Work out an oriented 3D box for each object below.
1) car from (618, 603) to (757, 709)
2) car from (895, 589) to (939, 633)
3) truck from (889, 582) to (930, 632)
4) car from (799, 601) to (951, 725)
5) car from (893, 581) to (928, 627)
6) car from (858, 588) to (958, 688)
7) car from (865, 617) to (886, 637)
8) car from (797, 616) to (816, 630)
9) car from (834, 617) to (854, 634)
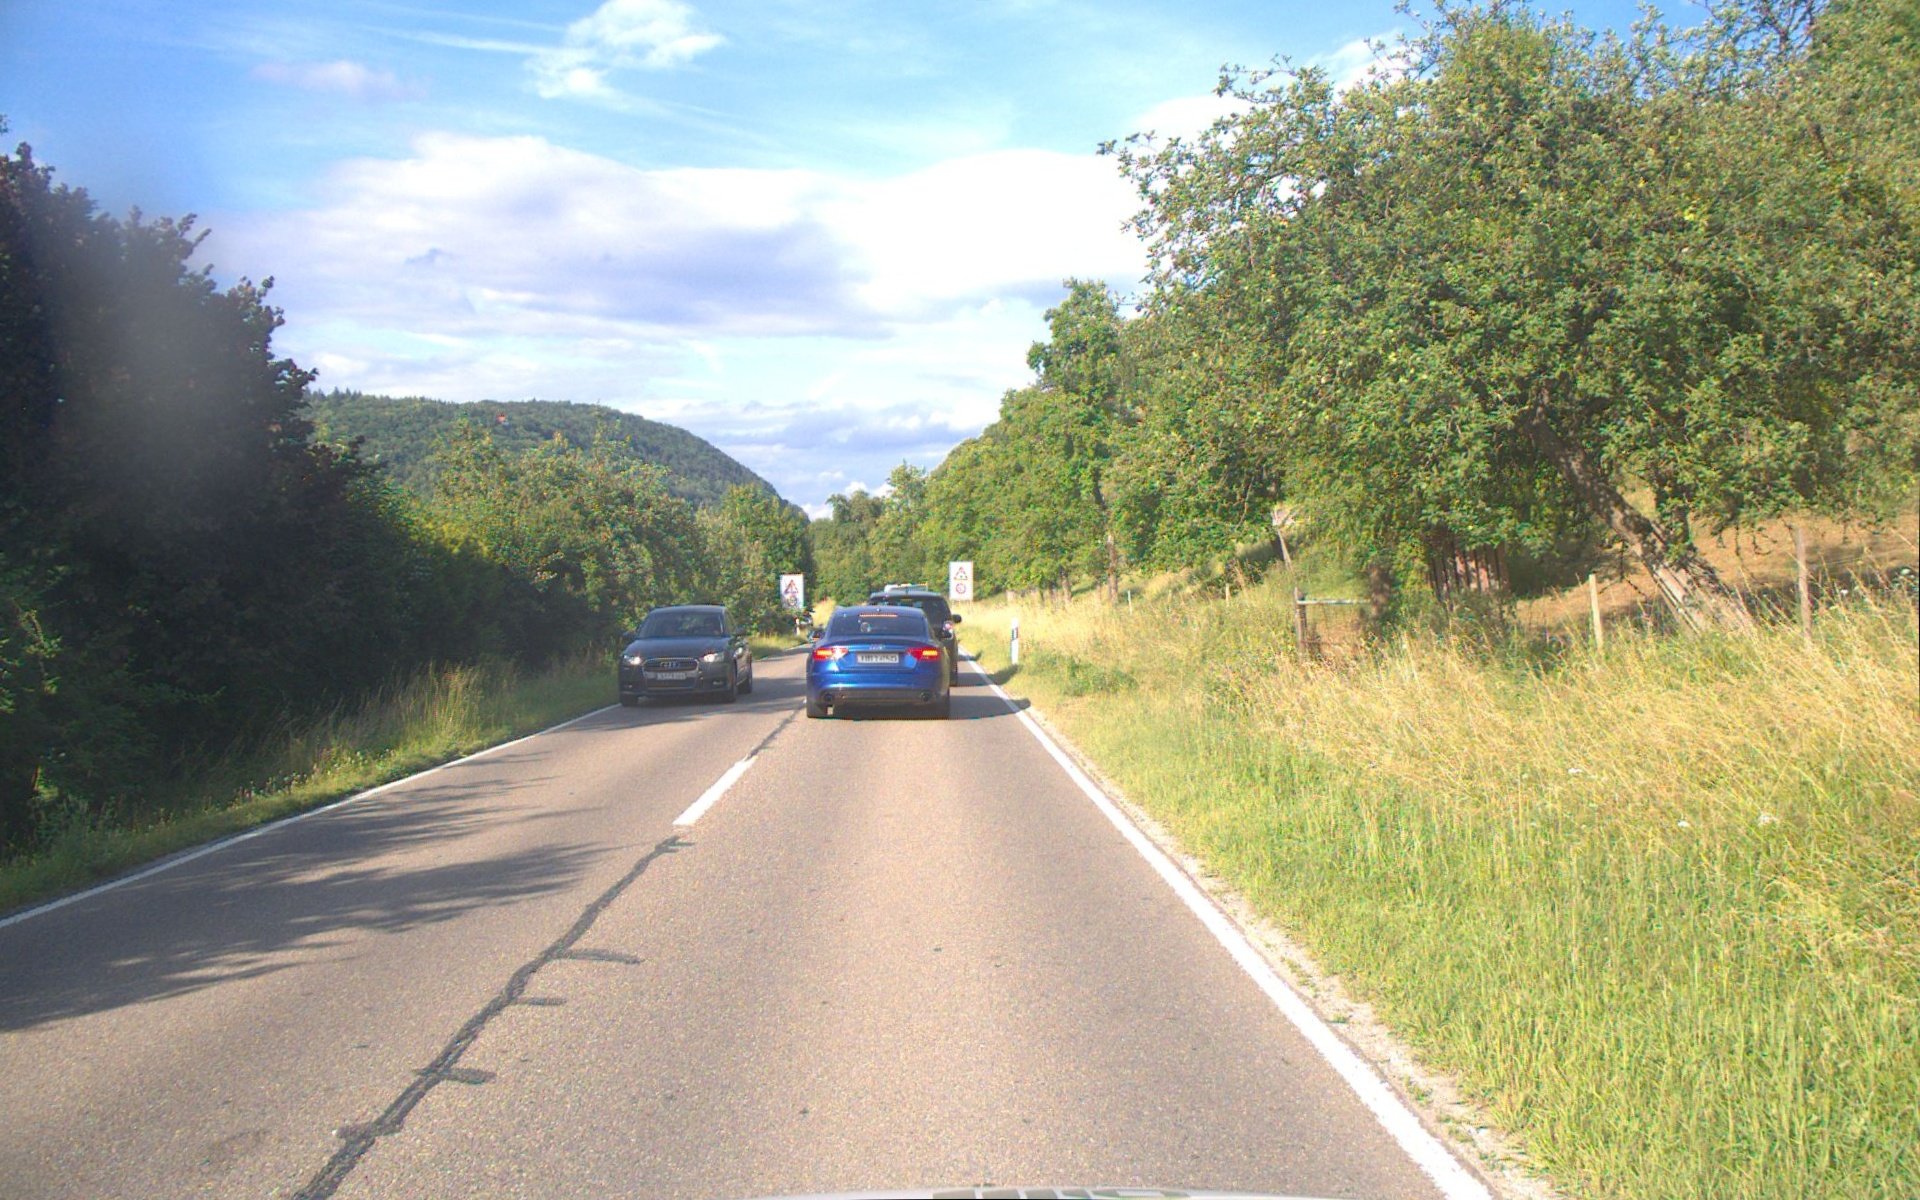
[{"bbox_3d":[-4.065,0.788,25.171,1.595,1.440,3.787,-2,0,-2],"label":"car"},{"bbox_3d":[-1.716,0.419,65.084,1.659,1.652,3.787,0,0,-2],"label":"car"},{"bbox_3d":[-2.548,0.361,82.730,1.911,2.386,5.091,1,0,-3],"label":"truck"},{"bbox_3d":[-1.055,0.739,21.545,1.769,1.406,4.213,-1,0,-2],"label":"car"},{"bbox_3d":[-2.817,0.243,93.320,1.757,2.496,3.915,1,0,-5],"label":"car"},{"bbox_3d":[-0.932,0.628,29.327,1.659,1.652,3.787,0,0,-2],"label":"car"},{"bbox_3d":[-6.664,2.112,130.208,1.528,1.522,3.775,1,0,-4],"label":"car"},{"bbox_3d":[-17.206,2.556,185.656,1.532,1.522,3.764,1,0,-14],"label":"car"},{"bbox_3d":[-11.062,2.393,157.336,1.530,1.522,3.768,1,0,-10],"label":"car"}]
